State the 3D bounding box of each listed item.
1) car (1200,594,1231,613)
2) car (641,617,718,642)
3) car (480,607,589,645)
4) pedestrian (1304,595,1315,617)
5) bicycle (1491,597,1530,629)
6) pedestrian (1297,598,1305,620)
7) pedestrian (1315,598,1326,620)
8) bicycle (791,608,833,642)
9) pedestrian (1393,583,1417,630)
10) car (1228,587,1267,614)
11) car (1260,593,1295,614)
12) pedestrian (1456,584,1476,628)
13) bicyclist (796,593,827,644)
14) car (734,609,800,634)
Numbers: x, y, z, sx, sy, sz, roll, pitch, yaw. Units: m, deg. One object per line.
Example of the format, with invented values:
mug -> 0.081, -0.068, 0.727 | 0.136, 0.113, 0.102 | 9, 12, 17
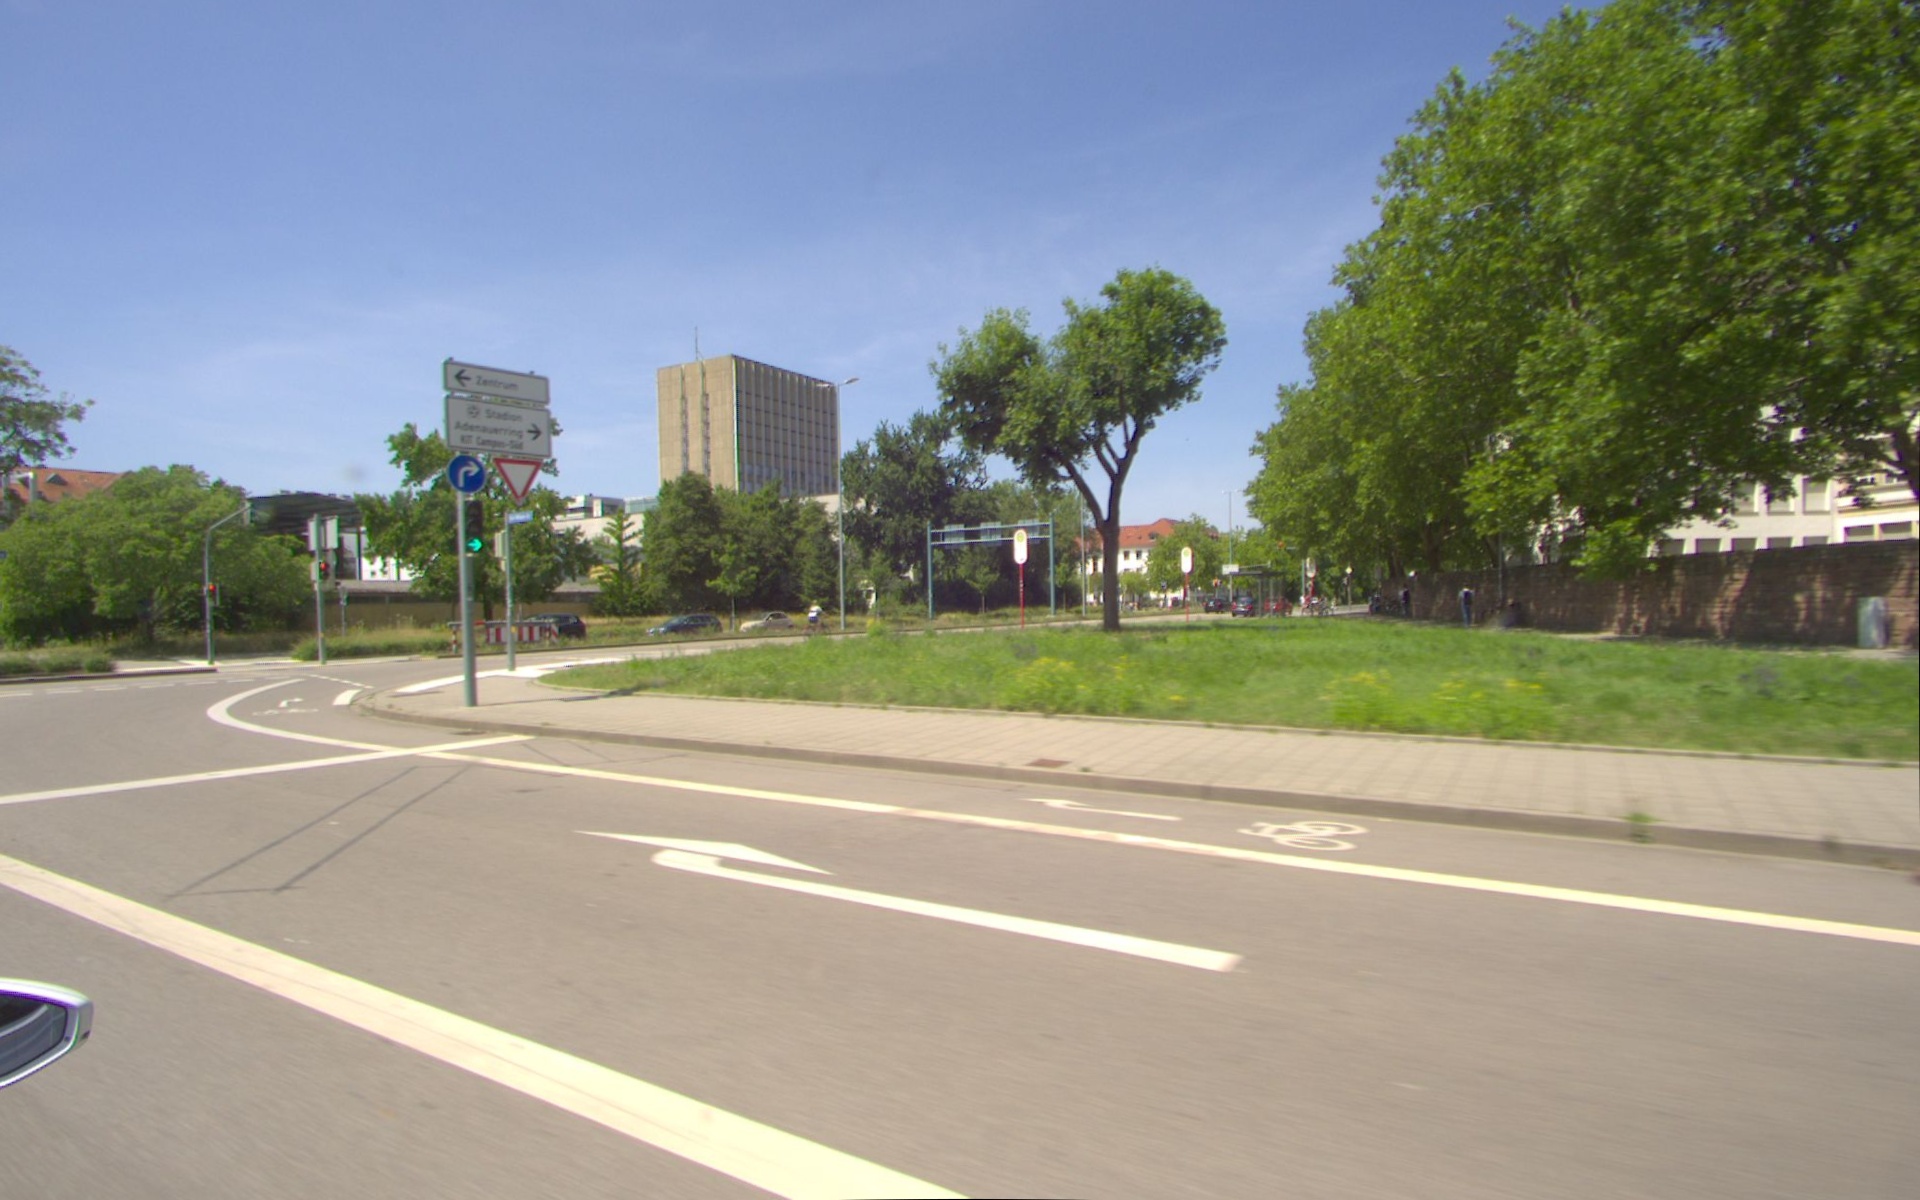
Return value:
car -> 23.709, 0.353, 92.789 | 1.752, 1.689, 3.982 | -1, -2, 31
car -> -15.242, 1.607, 54.626 | 1.734, 1.327, 3.981 | -1, -2, 31
car -> -20.153, 1.194, 47.580 | 1.688, 1.607, 4.522 | -1, 0, 38
pedestrian -> 32.942, 0.576, 94.302 | 0.778, 2.039, 0.959 | -1, -1, 33
bicycle -> 20.904, 0.510, 38.069 | 0.449, 1.197, 2.170 | 0, -2, 4
pedestrian -> 31.898, 0.870, 93.727 | 0.542, 2.039, 0.533 | -1, -1, 34
pedestrian -> 33.918, 0.884, 94.175 | 0.778, 2.039, 0.836 | -1, -1, 33
bicycle -> -5.657, 0.979, 38.392 | 0.512, 1.253, 2.186 | 0, -2, 24
pedestrian -> 22.353, 0.328, 50.341 | 0.833, 2.320, 1.075 | 0, -1, 8
car -> 23.795, 0.084, 82.897 | 1.972, 2.039, 4.192 | -1, -2, 33
car -> 27.819, 0.352, 87.708 | 1.758, 1.705, 3.976 | -1, -2, 35
pedestrian -> 20.148, 0.252, 39.891 | 0.578, 1.743, 0.527 | 0, -1, 8
bicyclist -> -5.681, 0.724, 38.388 | 0.697, 1.911, 1.136 | 0, -1, 23
car -> -11.569, 1.341, 60.296 | 1.734, 1.457, 3.981 | -1, -2, 31
